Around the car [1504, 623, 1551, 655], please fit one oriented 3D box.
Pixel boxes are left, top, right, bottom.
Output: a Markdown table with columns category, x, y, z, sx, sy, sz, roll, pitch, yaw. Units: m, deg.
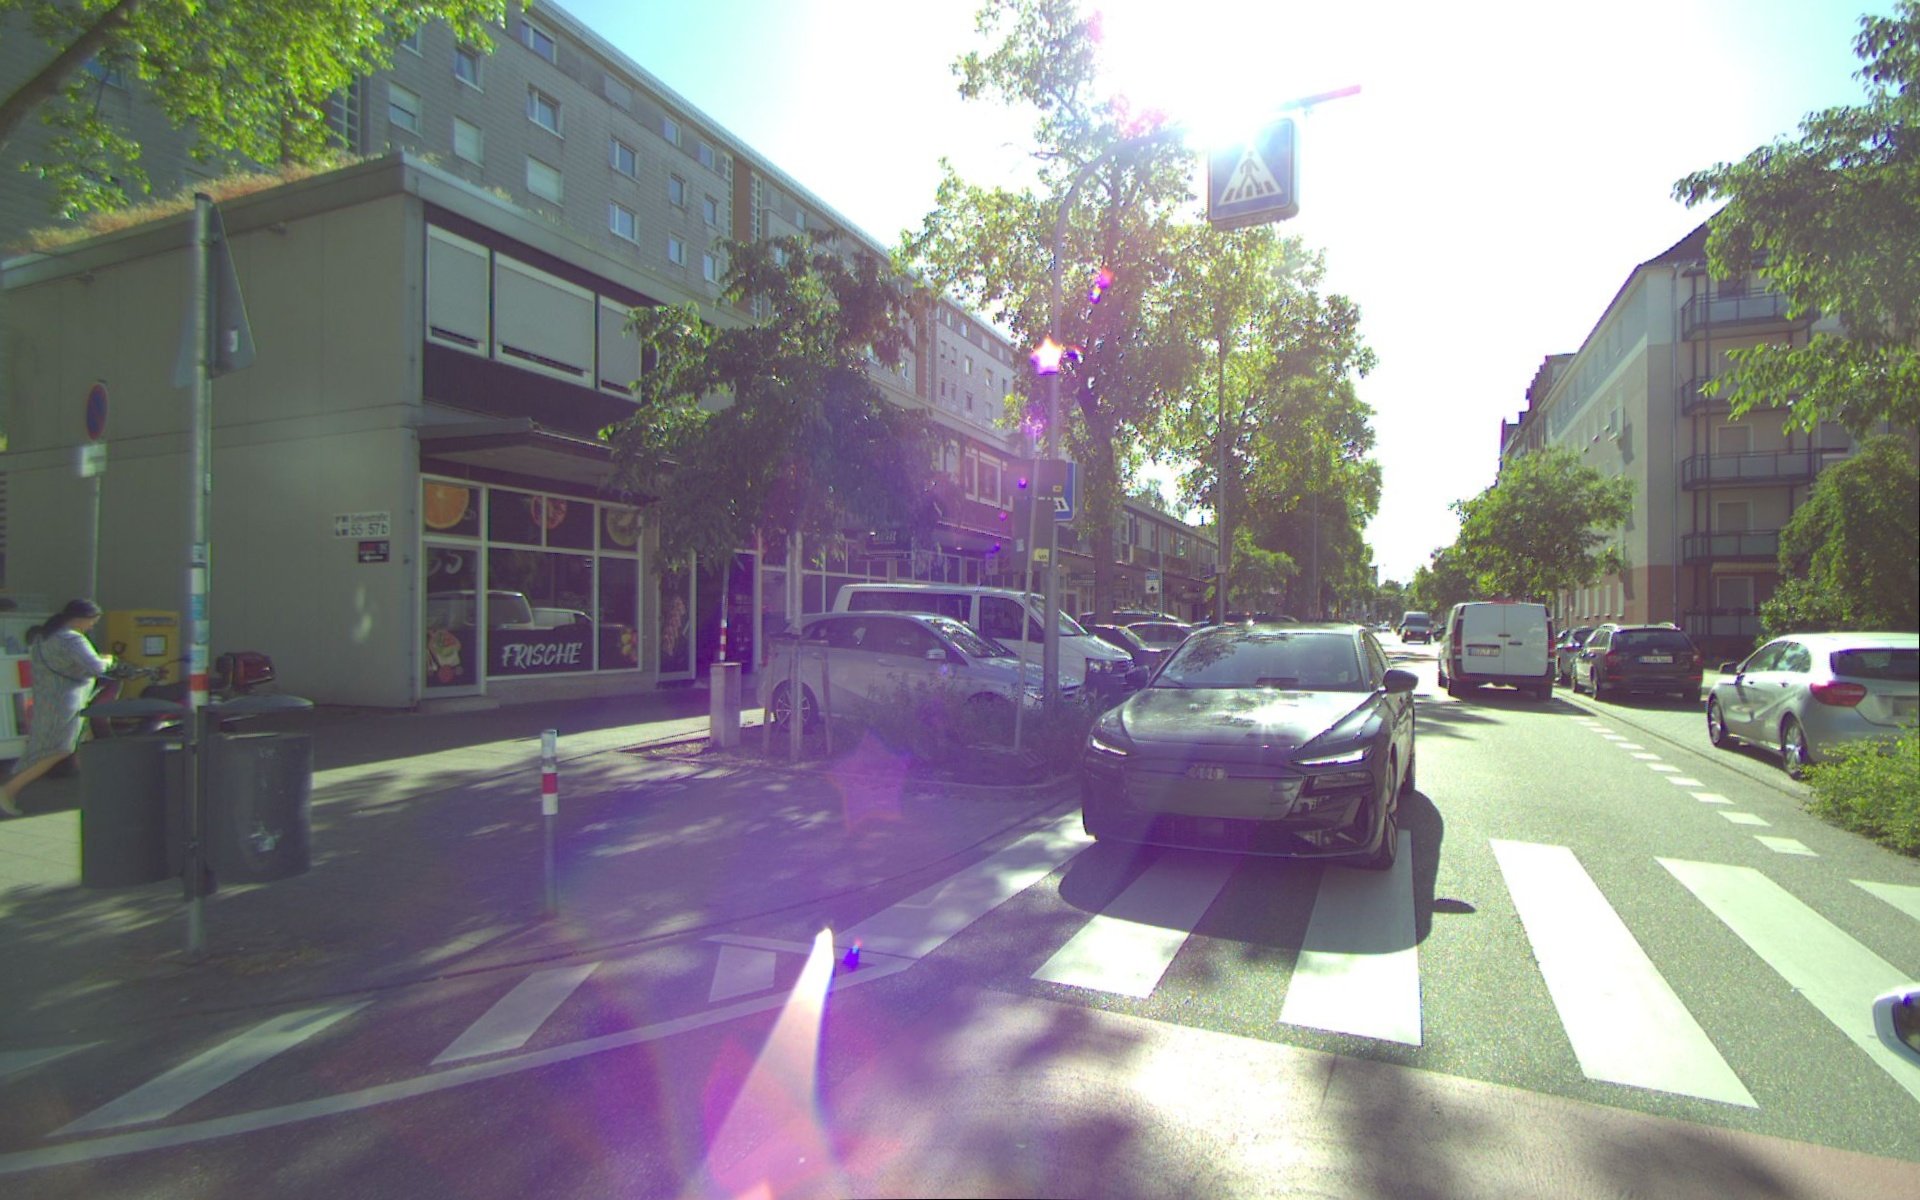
| category | x | y | z | sx | sy | sz | roll | pitch | yaw |
| --- | --- | --- | --- | --- | --- | --- | --- | --- | --- |
| car | 28.268 | 1.920 | 50.145 | 1.713 | 1.539 | 3.855 | 0 | -1 | 25 |

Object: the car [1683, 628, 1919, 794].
| category | x | y | z | sx | sy | sz | roll | pitch | yaw |
| --- | --- | --- | --- | --- | --- | --- | --- | --- | --- |
| car | 9.443 | 1.054 | 10.933 | 1.712 | 1.473 | 4.153 | 0 | -1 | 24 |

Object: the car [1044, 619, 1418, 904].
| category | x | y | z | sx | sy | sz | roll | pitch | yaw |
| --- | --- | --- | --- | --- | --- | --- | --- | --- | --- |
| car | 2.376 | 0.894 | 7.698 | 1.880 | 1.473 | 4.572 | 0 | -1 | 27 |

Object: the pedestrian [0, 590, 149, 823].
| category | x | y | z | sx | sy | sz | roll | pitch | yaw |
| --- | --- | --- | --- | --- | --- | --- | --- | --- | --- |
| pedestrian | -6.705 | 0.733 | 7.485 | 0.833 | 1.594 | 0.843 | 0 | 1 | 38 |

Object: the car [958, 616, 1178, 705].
| category | x | y | z | sx | sy | sz | roll | pitch | yaw |
| --- | --- | --- | --- | --- | --- | --- | --- | --- | --- |
| car | 2.134 | 1.133 | 19.827 | 3.965 | 1.513 | 1.716 | 1 | -1 | 23 |

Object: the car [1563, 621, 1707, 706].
| category | x | y | z | sx | sy | sz | roll | pitch | yaw |
| --- | --- | --- | --- | --- | --- | --- | --- | --- | --- |
| car | 13.628 | 1.205 | 20.540 | 1.755 | 1.539 | 4.305 | 0 | -1 | 25 |

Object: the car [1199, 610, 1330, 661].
| category | x | y | z | sx | sy | sz | roll | pitch | yaw |
| --- | --- | --- | --- | --- | --- | --- | --- | --- | --- |
| car | 12.779 | 1.471 | 42.233 | 5.129 | 2.007 | 1.661 | 0 | -1 | 23 |

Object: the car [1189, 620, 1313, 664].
| category | x | y | z | sx | sy | sz | roll | pitch | yaw |
| --- | --- | --- | --- | --- | --- | --- | --- | --- | --- |
| car | 11.581 | 1.618 | 39.975 | 4.553 | 1.632 | 1.661 | 0 | -1 | 23 |

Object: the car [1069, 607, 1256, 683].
| category | x | y | z | sx | sy | sz | roll | pitch | yaw |
| --- | --- | --- | --- | --- | --- | --- | --- | --- | --- |
| car | 5.344 | 1.137 | 26.546 | 4.553 | 1.828 | 1.836 | 0 | -1 | 23 |

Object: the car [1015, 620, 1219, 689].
| category | x | y | z | sx | sy | sz | roll | pitch | yaw |
| --- | --- | --- | --- | --- | --- | --- | --- | --- | --- |
| car | 3.806 | 1.264 | 24.344 | 4.581 | 1.513 | 1.827 | 0 | -1 | 23 |

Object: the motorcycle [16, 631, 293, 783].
| category | x | y | z | sx | sy | sz | roll | pitch | yaw |
| --- | --- | --- | --- | --- | --- | --- | --- | --- | --- |
| motorcycle | -7.438 | 0.925 | 9.402 | 0.657 | 1.196 | 1.920 | 0 | 1 | 24 |

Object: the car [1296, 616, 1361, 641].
| category | x | y | z | sx | sy | sz | roll | pitch | yaw |
| --- | --- | --- | --- | --- | --- | --- | --- | --- | --- |
| car | 31.629 | 2.427 | 86.219 | 5.129 | 2.007 | 1.661 | 0 | -1 | 23 |

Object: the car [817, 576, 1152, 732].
| category | x | y | z | sx | sy | sz | roll | pitch | yaw |
| --- | --- | --- | --- | --- | --- | --- | --- | --- | --- |
| car | 0.375 | 0.724 | 15.253 | 4.653 | 2.033 | 1.959 | 1 | 0 | 22 |

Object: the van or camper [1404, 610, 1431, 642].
| category | x | y | z | sx | sy | sz | roll | pitch | yaw |
| --- | --- | --- | --- | --- | --- | --- | --- | --- | --- |
| van or camper | 37.383 | 2.102 | 82.168 | 1.962 | 2.508 | 5.816 | 0 | -1 | 24 |

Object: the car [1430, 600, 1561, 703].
| category | x | y | z | sx | sy | sz | roll | pitch | yaw |
| --- | --- | --- | --- | --- | --- | --- | --- | --- | --- |
| car | 11.461 | 1.020 | 21.871 | 2.067 | 1.933 | 5.421 | 0 | -1 | 23 |

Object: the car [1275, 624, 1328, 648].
| category | x | y | z | sx | sy | sz | roll | pitch | yaw |
| --- | --- | --- | --- | --- | --- | --- | --- | --- | --- |
| car | 21.605 | 2.248 | 63.526 | 3.050 | 1.427 | 1.661 | 0 | -1 | 23 |

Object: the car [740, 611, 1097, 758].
| category | x | y | z | sx | sy | sz | roll | pitch | yaw |
| --- | --- | --- | --- | --- | --- | --- | --- | --- | --- |
| car | -0.535 | 0.971 | 12.850 | 4.221 | 1.634 | 1.757 | 0 | -1 | 23 |

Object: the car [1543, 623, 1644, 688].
| category | x | y | z | sx | sy | sz | roll | pitch | yaw |
| --- | --- | --- | --- | --- | --- | --- | --- | --- | --- |
| car | 16.320 | 1.375 | 26.053 | 1.713 | 1.539 | 3.855 | 0 | -1 | 25 |
